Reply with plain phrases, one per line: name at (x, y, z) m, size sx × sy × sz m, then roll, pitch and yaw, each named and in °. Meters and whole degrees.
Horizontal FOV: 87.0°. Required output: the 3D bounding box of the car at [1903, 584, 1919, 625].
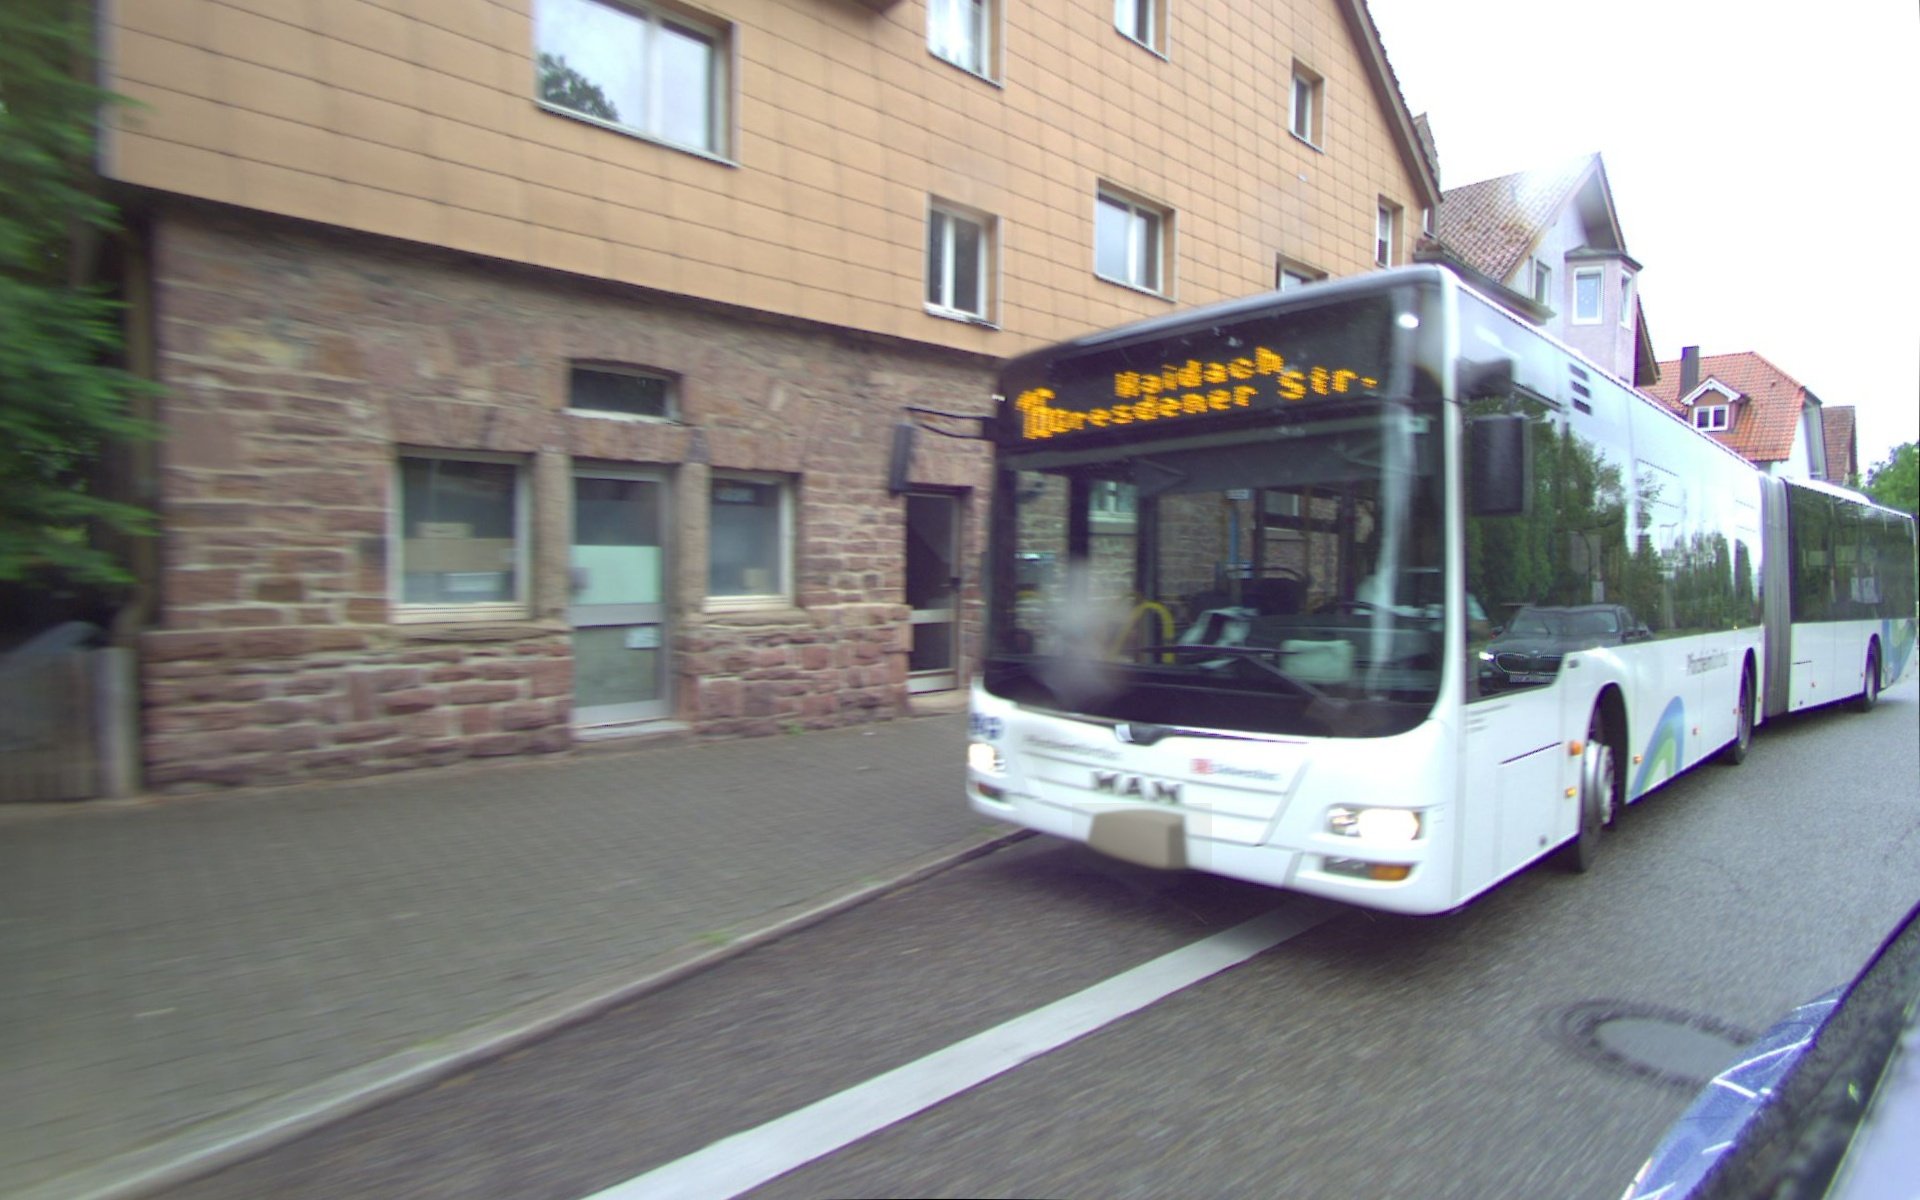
car at (42.545, 0.228, 44.016) m, size 4.409 × 1.681 × 1.925 m, roll -1°, pitch 5°, yaw -44°

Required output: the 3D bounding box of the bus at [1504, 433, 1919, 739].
bus at (10.504, -0.167, 13.558) m, size 8.402 × 2.996 × 2.562 m, roll 0°, pitch 1°, yaw -39°

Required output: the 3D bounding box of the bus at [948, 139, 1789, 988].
bus at (4.127, -0.169, 7.785) m, size 2.558 × 2.996 × 9.296 m, roll 2°, pitch 1°, yaw 45°
